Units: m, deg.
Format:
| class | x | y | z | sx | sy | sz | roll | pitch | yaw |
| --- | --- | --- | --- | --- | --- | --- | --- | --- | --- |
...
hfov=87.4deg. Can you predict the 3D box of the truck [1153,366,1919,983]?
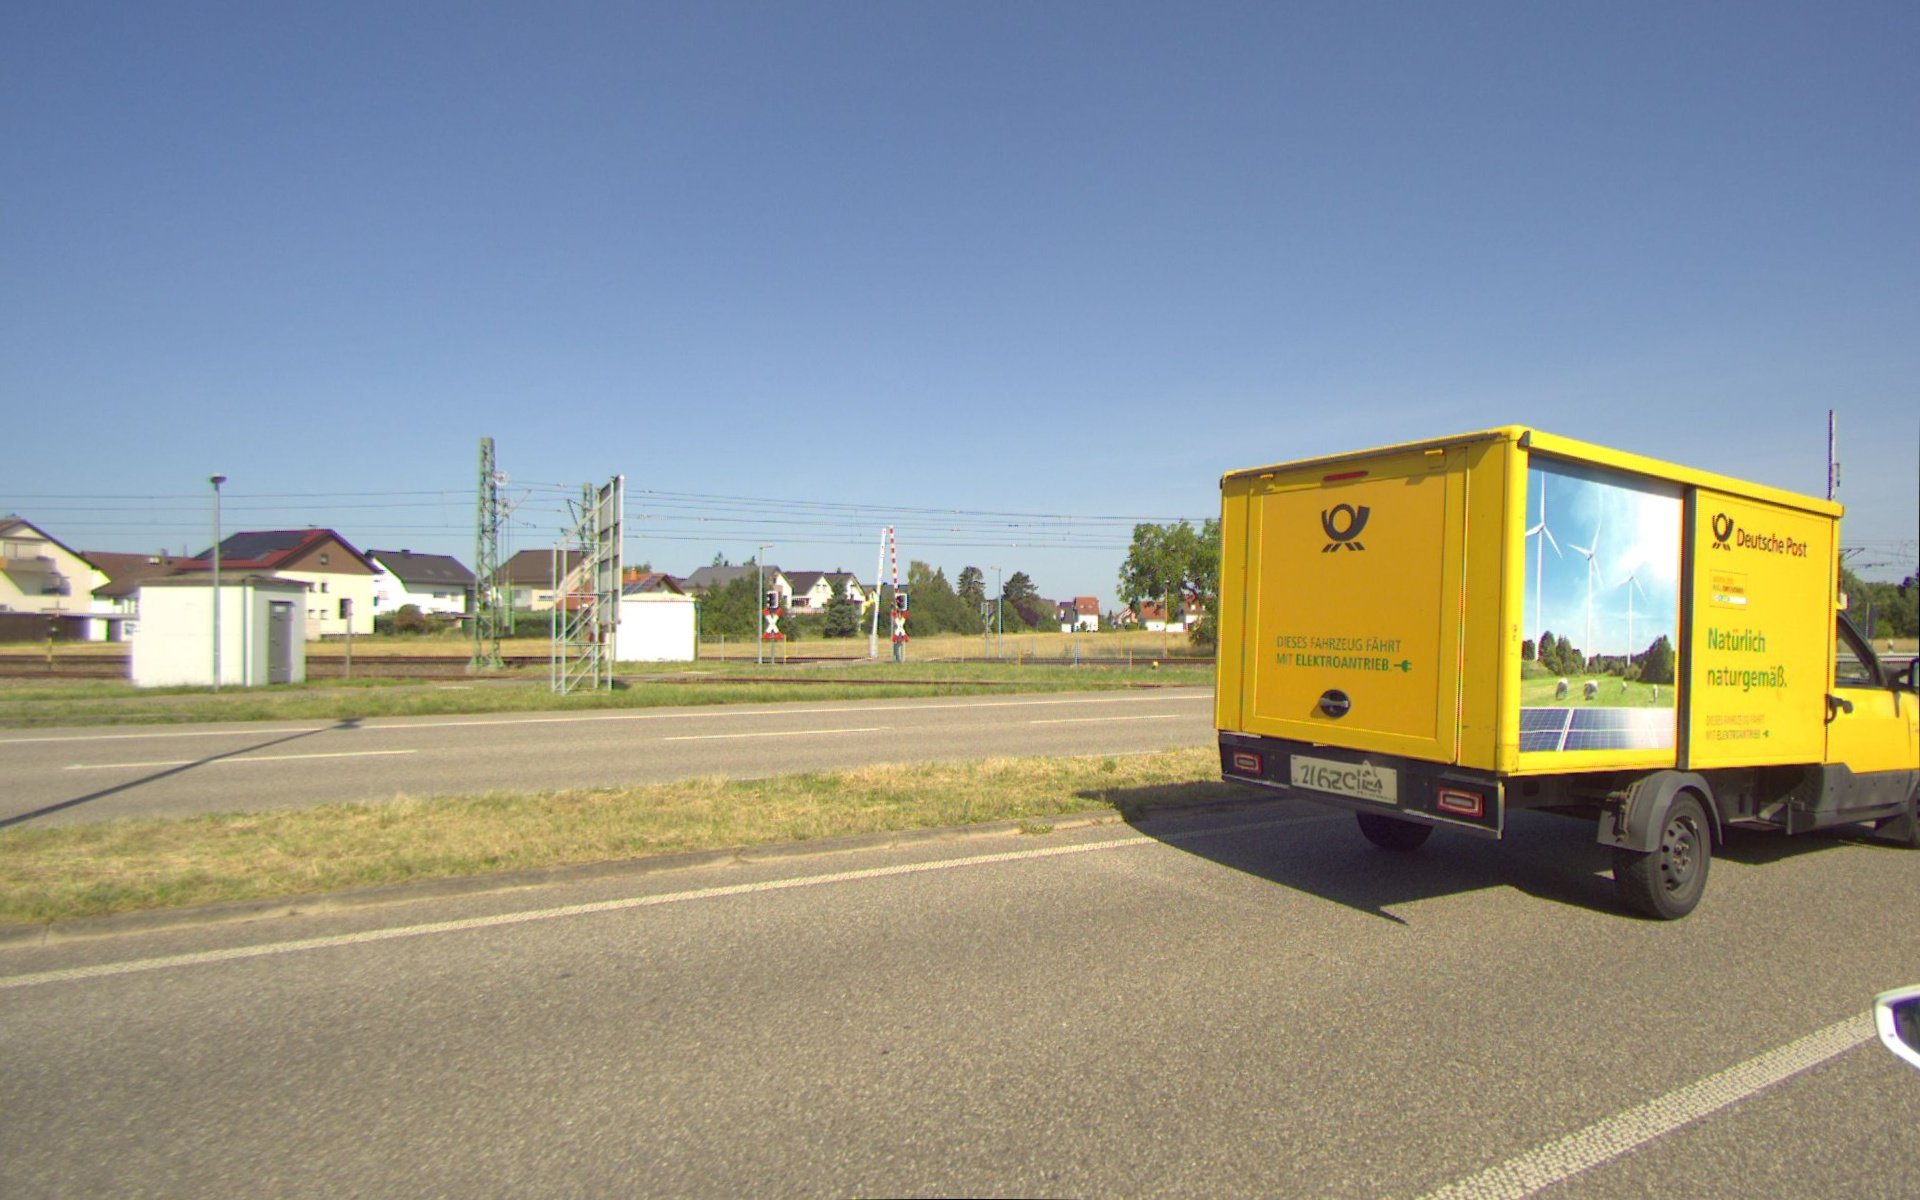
| class | x | y | z | sx | sy | sz | roll | pitch | yaw |
| --- | --- | --- | --- | --- | --- | --- | --- | --- | --- |
| truck | 4.178 | 0.357 | 6.481 | 5.849 | 2.490 | 2.101 | 1 | 0 | -31 |
